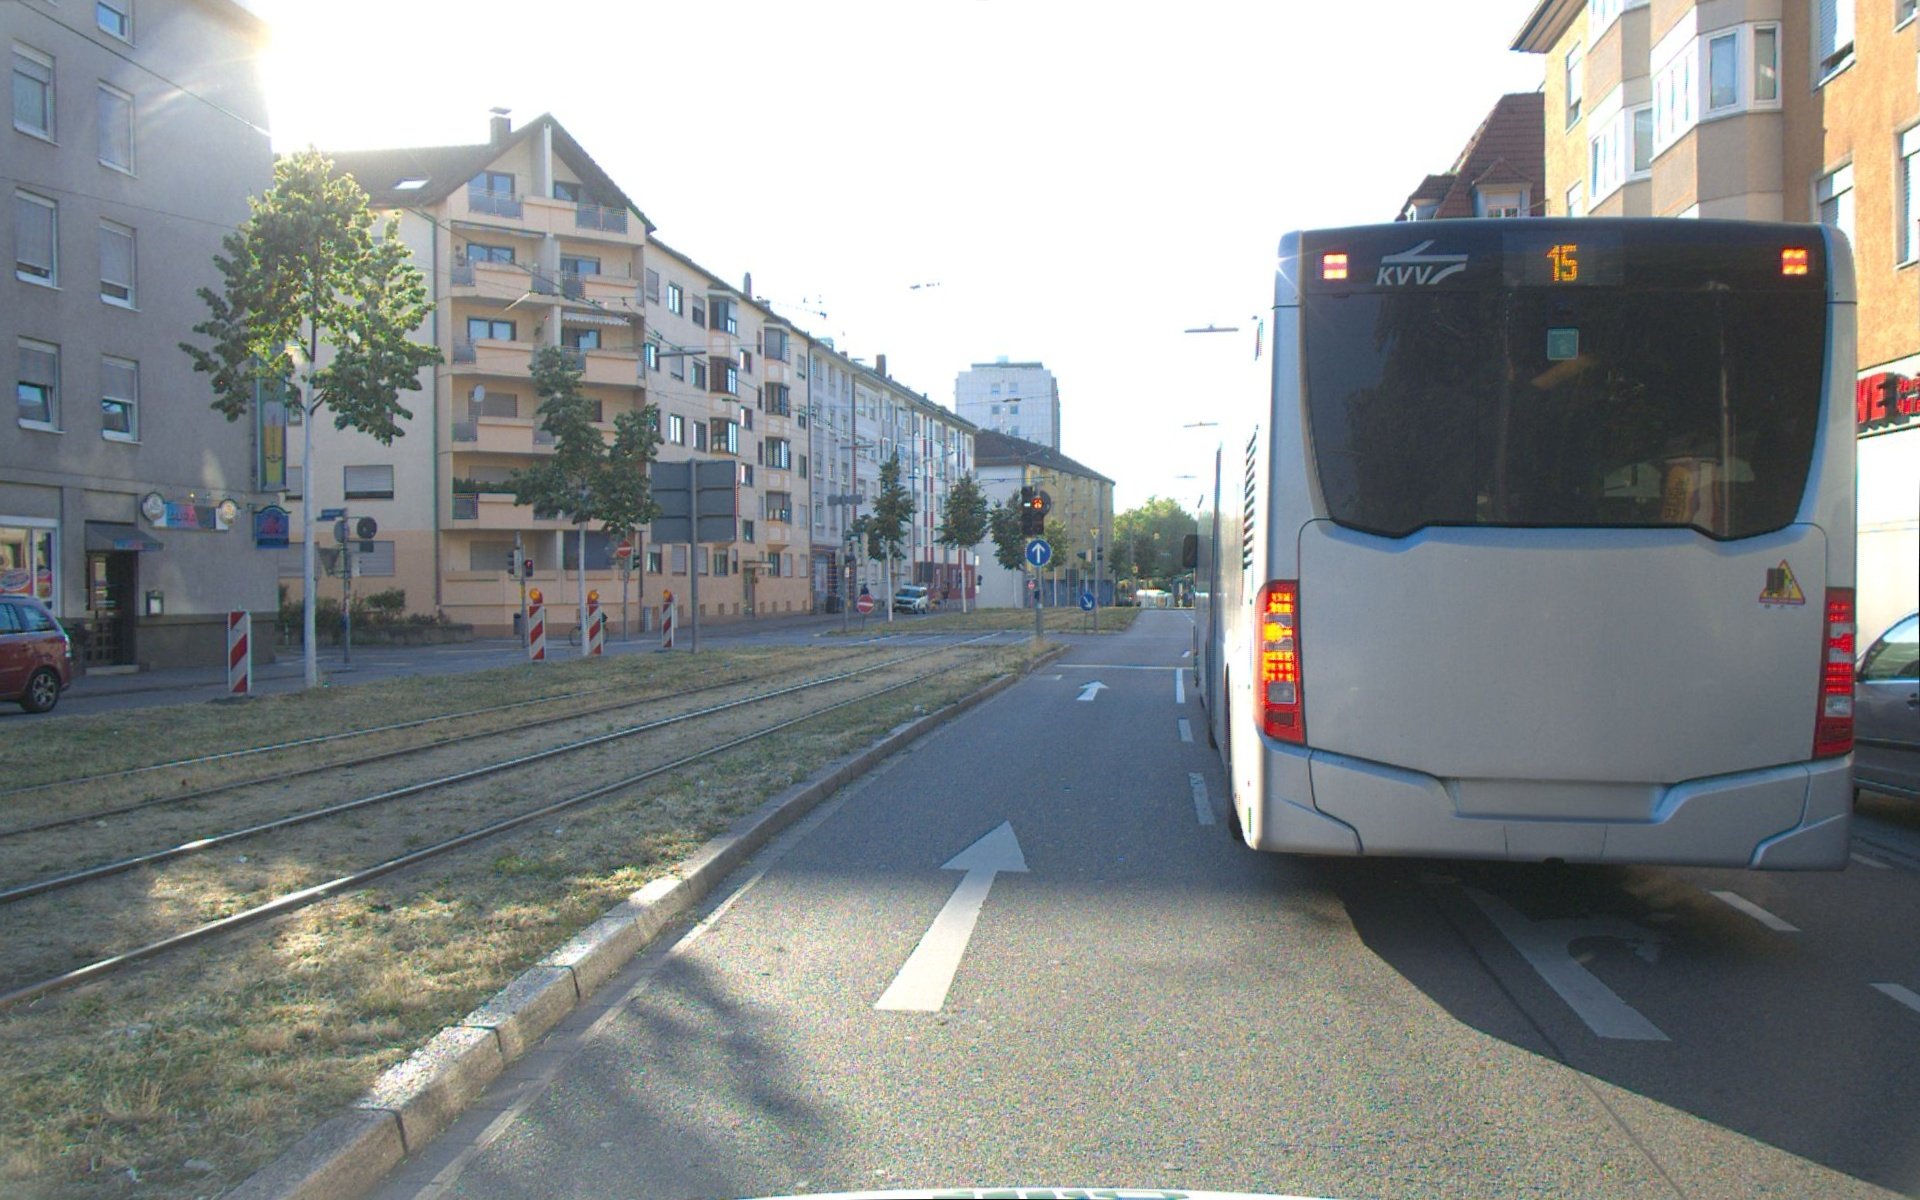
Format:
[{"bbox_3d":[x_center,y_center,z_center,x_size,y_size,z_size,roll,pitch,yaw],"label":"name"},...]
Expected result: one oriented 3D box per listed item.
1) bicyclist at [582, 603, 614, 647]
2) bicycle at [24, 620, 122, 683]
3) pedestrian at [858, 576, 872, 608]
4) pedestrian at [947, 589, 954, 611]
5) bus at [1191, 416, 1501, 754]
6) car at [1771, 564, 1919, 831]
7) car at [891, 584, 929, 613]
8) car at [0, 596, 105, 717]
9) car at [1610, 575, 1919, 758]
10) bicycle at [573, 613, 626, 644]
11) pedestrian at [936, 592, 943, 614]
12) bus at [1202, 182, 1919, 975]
[{"bbox_3d":[-12.379,0.842,56.611,0.519,1.472,0.961,-1,0,38],"label":"bicyclist"},{"bbox_3d":[-16.931,0.974,31.613,0.731,1.134,1.780,-1,0,7],"label":"bicycle"},{"bbox_3d":[-6.100,-0.544,106.764,0.770,2.049,0.891,-1,0,4],"label":"pedestrian"},{"bbox_3d":[-0.737,0.009,127.135,0.485,1.687,0.409,-1,0,8],"label":"pedestrian"},{"bbox_3d":[4.205,-0.185,19.910,2.680,3.109,9.138,1,0,7],"label":"bus"},{"bbox_3d":[6.769,0.571,10.459,1.799,1.616,3.788,-1,0,7],"label":"car"},{"bbox_3d":[-3.366,-0.140,112.555,1.773,1.829,4.249,-3,0,9],"label":"car"},{"bbox_3d":[-13.530,0.767,21.391,1.773,1.587,4.938,-2,-1,9],"label":"car"},{"bbox_3d":[7.929,0.563,16.344,1.799,1.563,4.233,-1,0,7],"label":"car"},{"bbox_3d":[-12.351,0.975,56.727,0.519,1.001,1.875,-1,0,37],"label":"bicycle"},{"bbox_3d":[-1.553,0.200,126.865,0.485,1.687,0.409,-1,0,8],"label":"pedestrian"},{"bbox_3d":[3.069,-0.129,11.042,2.680,3.109,8.860,1,0,7],"label":"bus"}]
